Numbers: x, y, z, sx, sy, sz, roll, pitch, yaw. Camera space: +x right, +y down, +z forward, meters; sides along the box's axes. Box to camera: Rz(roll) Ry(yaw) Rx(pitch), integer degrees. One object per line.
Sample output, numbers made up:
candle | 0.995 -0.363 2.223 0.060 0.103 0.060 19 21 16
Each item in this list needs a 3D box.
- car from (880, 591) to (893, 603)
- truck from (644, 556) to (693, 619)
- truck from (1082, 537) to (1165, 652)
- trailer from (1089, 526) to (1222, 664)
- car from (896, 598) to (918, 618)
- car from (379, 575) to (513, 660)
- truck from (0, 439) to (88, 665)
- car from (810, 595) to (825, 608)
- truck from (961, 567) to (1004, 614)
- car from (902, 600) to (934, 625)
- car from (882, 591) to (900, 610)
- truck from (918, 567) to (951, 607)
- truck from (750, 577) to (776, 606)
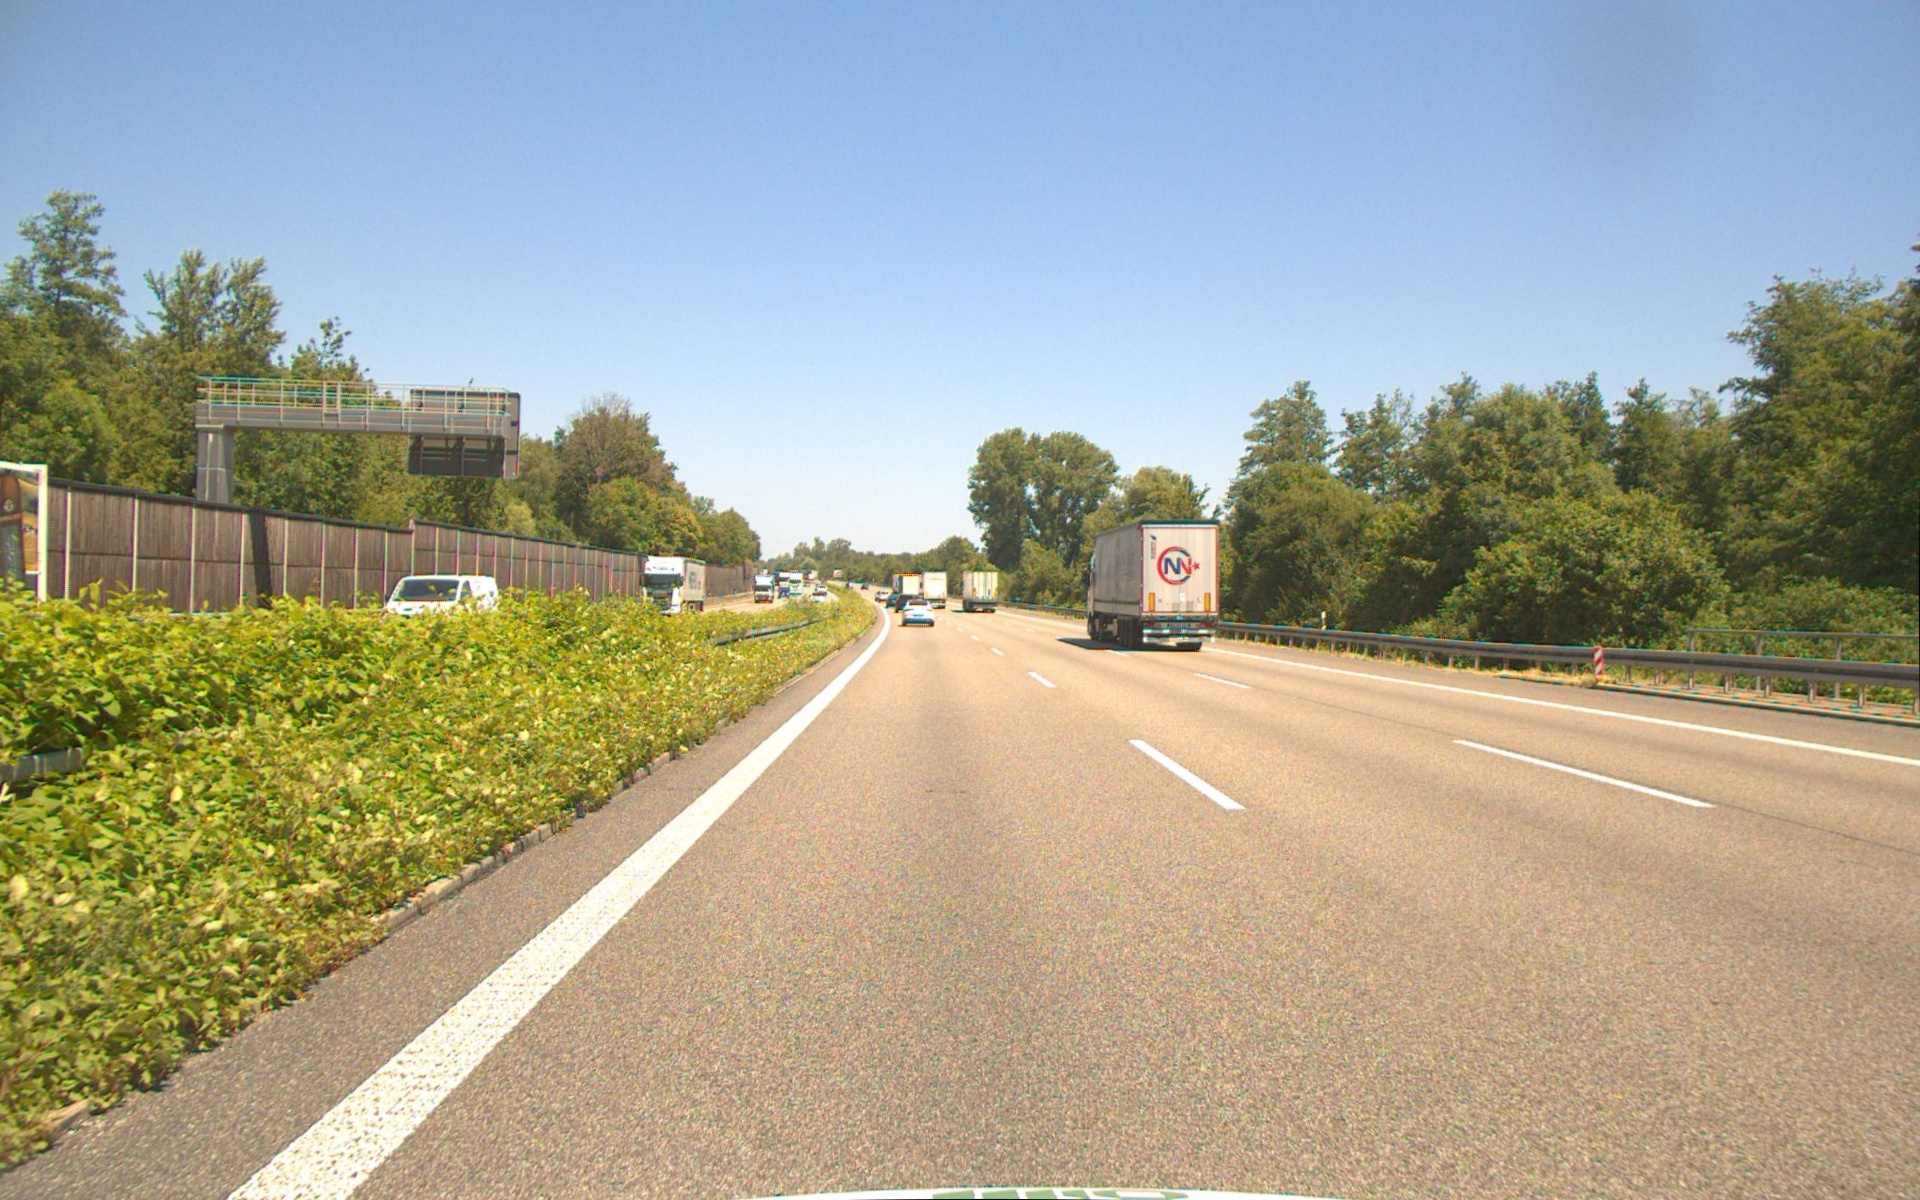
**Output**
car | -10.747 -0.454 241.188 1.690 1.814 3.997 0 0 -4
truck | -19.793 -0.851 112.613 2.469 4.137 6.367 1 0 -3
truck | 6.458 -0.222 66.131 2.553 4.362 5.433 1 0 -2
trailer | 6.717 -0.165 59.252 2.571 4.335 14.055 1 0 -2
car | -4.936 0.731 153.986 1.953 1.803 3.998 1 0 -2
car | -13.310 0.433 43.141 1.953 2.049 5.101 1 0 -1
truck | -16.948 -0.791 24.575 2.812 3.668 9.949 1 0 -1
car | -17.360 0.198 201.415 1.551 1.616 3.999 1 0 -1
truck | 2.126 -0.899 163.177 3.423 4.386 10.981 1 0 -3
car | -2.354 0.691 93.390 1.680 1.393 3.374 1 0 0
car | -7.903 0.034 189.837 1.954 2.049 3.997 0 0 -4
truck | -2.988 -1.463 188.479 3.293 4.386 10.821 1 0 -3
truck | -26.235 -1.119 220.950 2.776 3.672 8.740 1 0 -2
